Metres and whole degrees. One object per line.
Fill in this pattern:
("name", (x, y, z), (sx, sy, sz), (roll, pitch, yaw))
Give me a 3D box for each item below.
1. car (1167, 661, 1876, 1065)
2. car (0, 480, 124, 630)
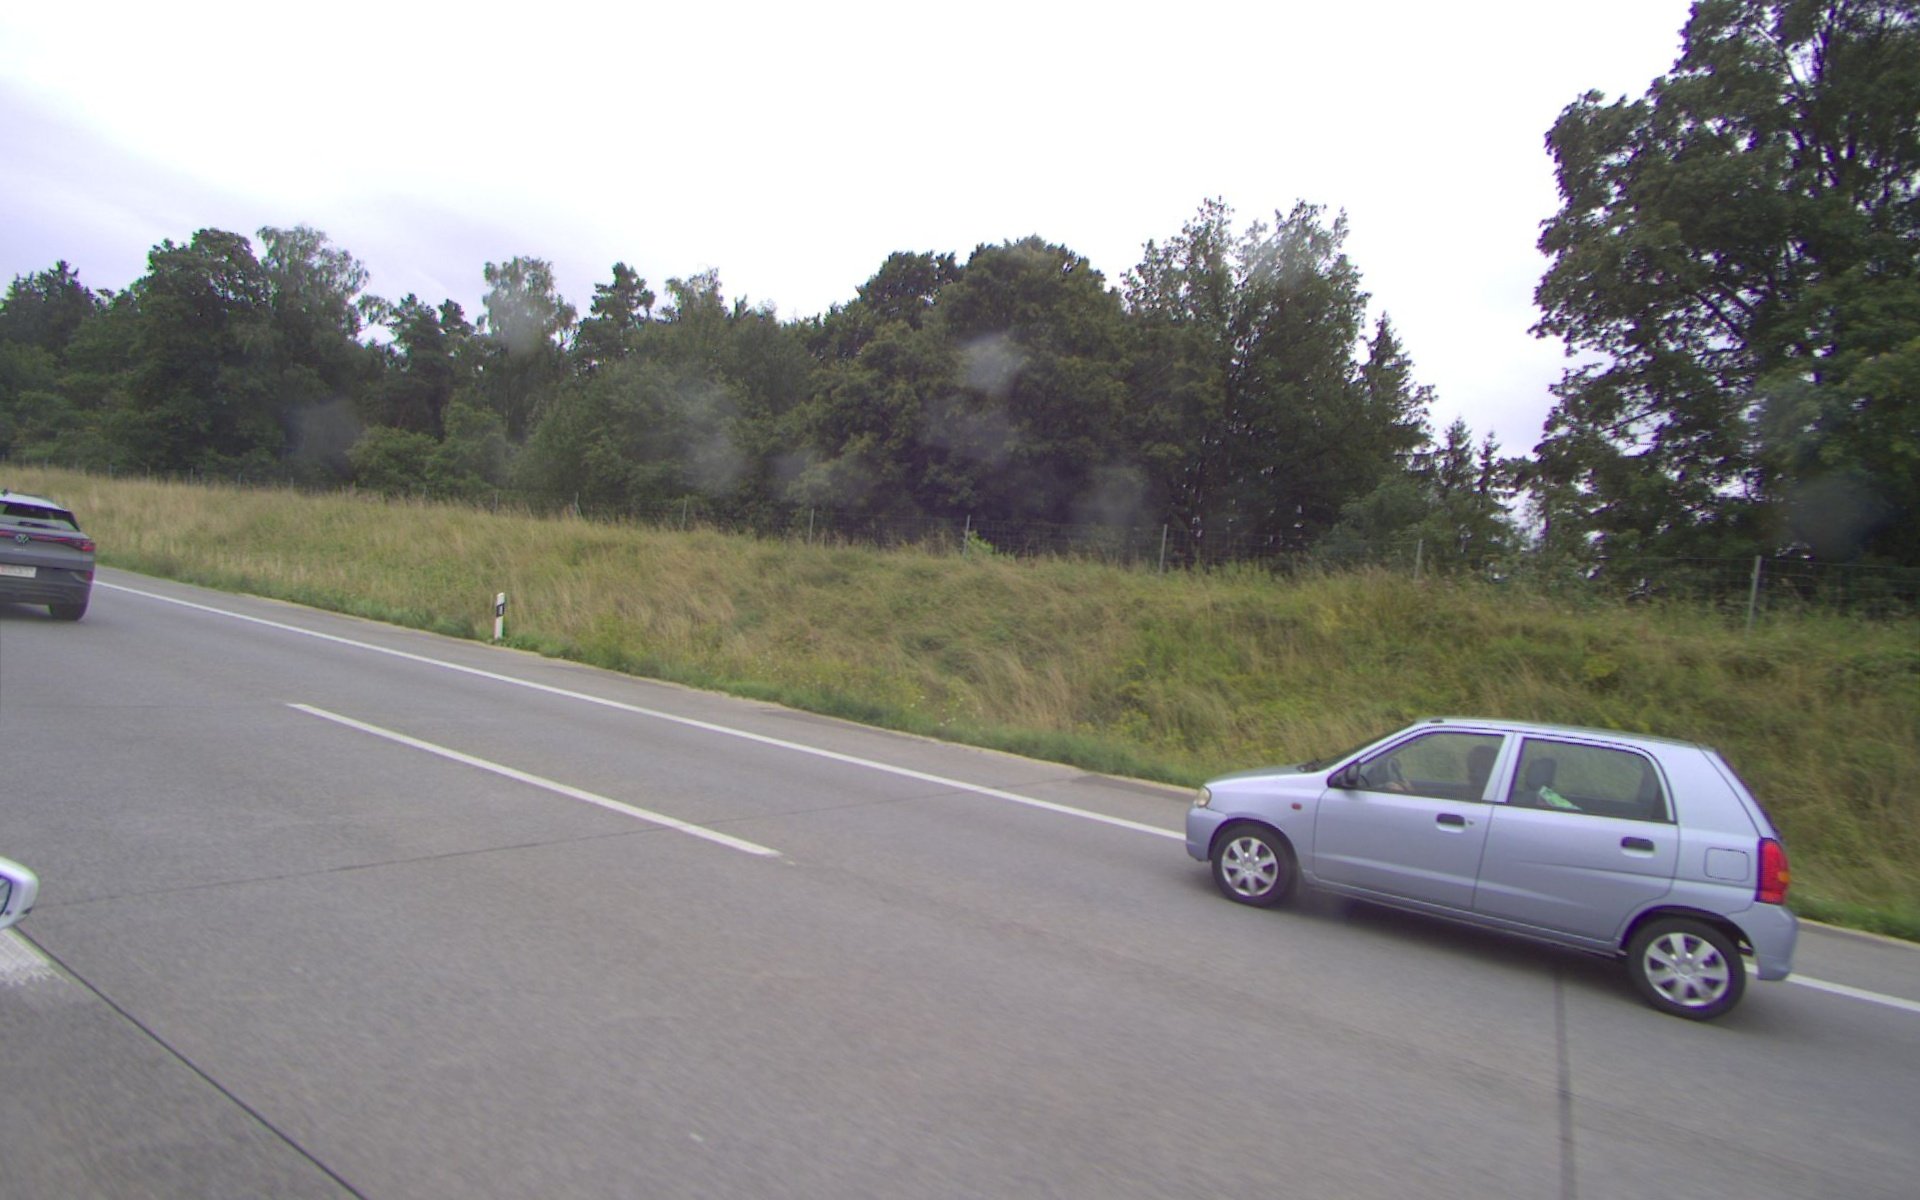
("car", (3.325, 1.418, 6.498), (3.445, 1.488, 1.488), (8, 0, 31))
("car", (-13.701, -0.850, 13.741), (5.179, 1.709, 1.901), (8, -1, 33))
